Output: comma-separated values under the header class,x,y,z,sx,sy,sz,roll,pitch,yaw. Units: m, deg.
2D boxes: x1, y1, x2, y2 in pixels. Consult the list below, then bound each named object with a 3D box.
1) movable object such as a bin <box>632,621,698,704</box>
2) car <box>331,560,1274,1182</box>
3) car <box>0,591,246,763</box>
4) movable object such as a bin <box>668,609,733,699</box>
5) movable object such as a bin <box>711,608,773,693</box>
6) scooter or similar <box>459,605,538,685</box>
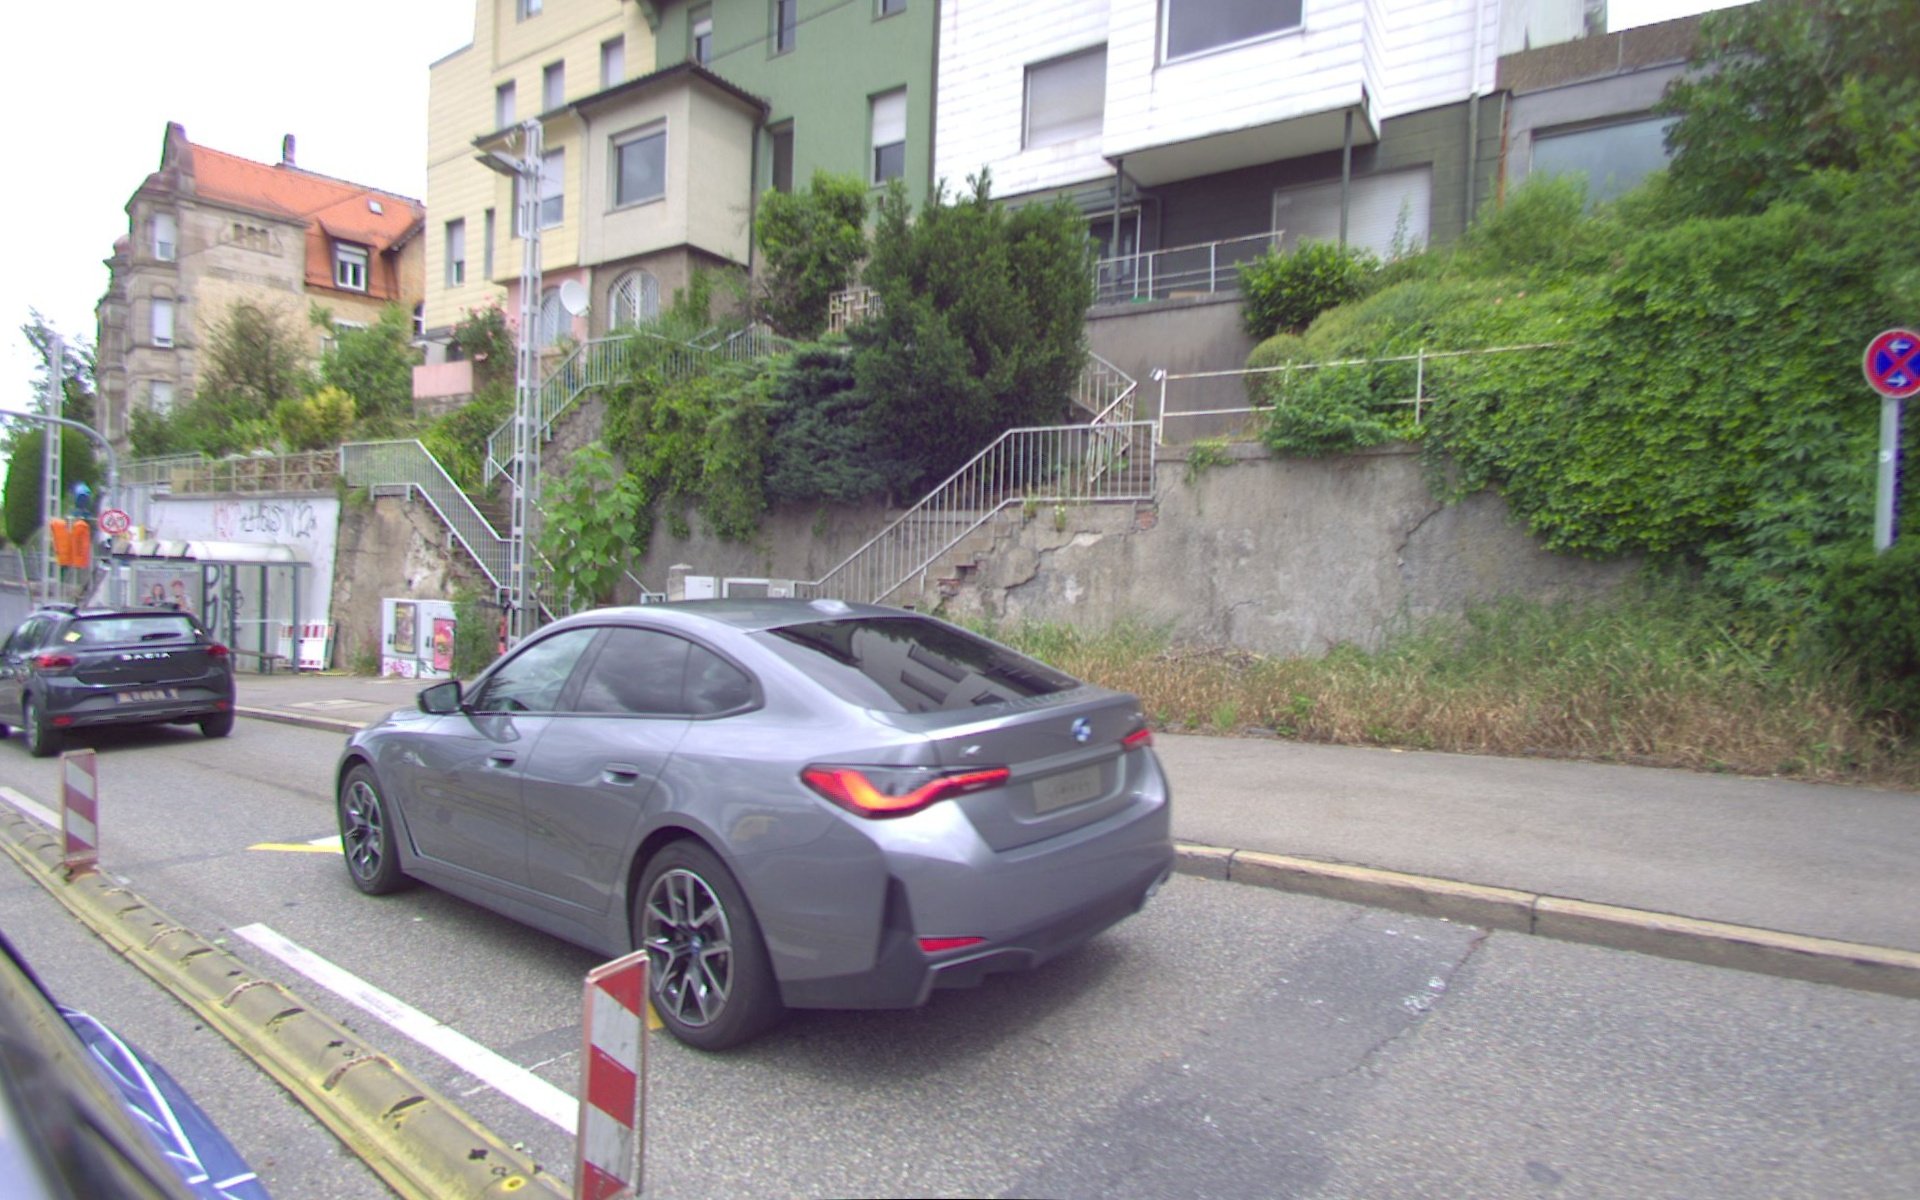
class,x,y,z,sx,sy,sz,roll,pitch,yaw
movable object such as a bin,-3.556,0.741,12.195,0.623,0.941,0.463,-1,1,37
car,-1.045,0.648,4.531,4.326,1.493,1.777,-1,1,41
car,-9.984,0.771,11.705,3.814,1.634,1.798,-1,0,38
movable object such as a bin,-3.223,0.660,12.586,0.623,1.061,0.463,-1,1,37
movable object such as a bin,-2.844,0.643,13.218,0.623,1.061,0.463,-1,1,37
scooter or similar,-7.404,0.708,16.217,1.432,1.214,0.455,-1,1,35
